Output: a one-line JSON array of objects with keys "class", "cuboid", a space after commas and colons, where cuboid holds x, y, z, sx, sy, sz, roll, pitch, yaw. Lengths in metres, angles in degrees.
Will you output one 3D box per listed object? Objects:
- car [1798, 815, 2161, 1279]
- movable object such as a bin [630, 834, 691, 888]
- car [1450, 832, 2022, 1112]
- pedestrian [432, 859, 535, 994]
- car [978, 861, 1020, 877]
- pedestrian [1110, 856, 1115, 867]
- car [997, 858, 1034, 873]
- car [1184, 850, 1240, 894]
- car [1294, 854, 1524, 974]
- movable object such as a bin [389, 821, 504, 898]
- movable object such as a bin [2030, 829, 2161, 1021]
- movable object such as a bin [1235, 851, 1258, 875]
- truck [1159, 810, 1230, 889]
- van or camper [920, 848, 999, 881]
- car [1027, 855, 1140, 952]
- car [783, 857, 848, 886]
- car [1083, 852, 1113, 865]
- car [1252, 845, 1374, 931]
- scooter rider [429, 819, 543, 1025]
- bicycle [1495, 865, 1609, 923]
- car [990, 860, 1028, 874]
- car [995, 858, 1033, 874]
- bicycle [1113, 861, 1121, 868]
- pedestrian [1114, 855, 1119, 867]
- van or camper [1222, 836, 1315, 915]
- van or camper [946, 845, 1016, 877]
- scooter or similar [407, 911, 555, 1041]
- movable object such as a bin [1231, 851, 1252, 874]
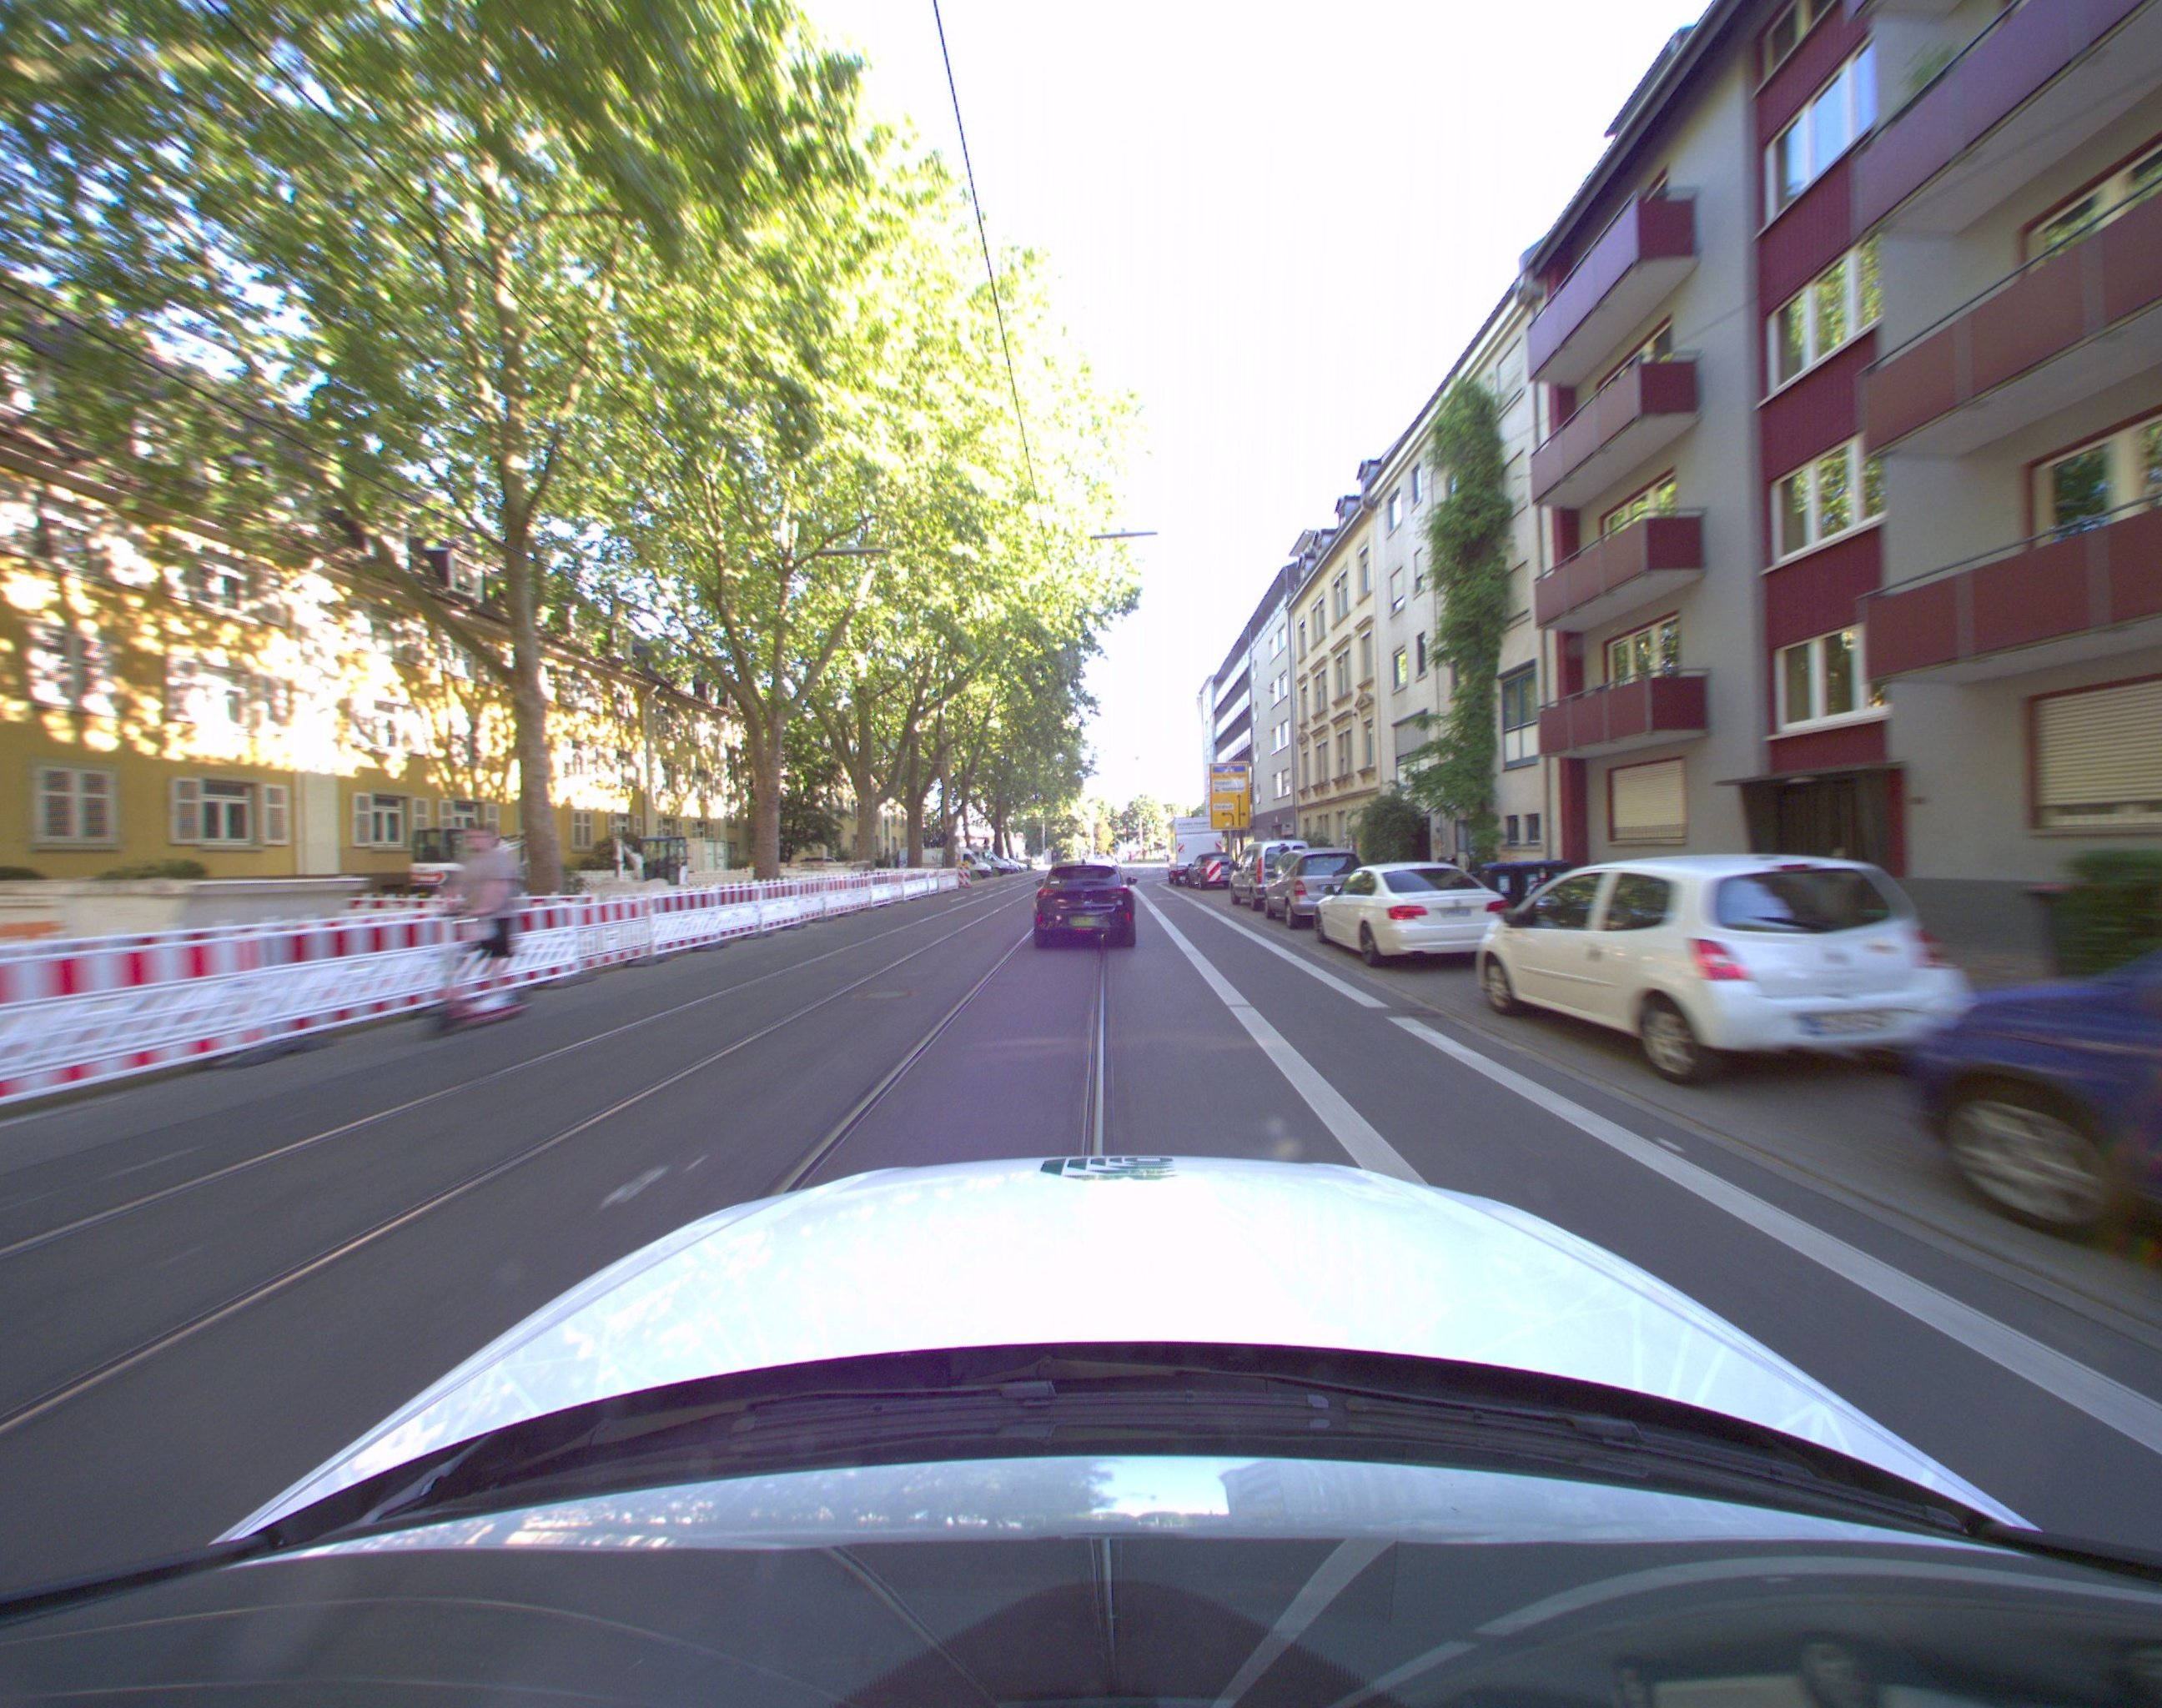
[{"class": "car", "cuboid": [4.459, 0.657, 2.338, 1.521, 1.590, 3.752, 0, -1, 0]}, {"class": "movable object such as a bin", "cuboid": [-13.286, 0.221, 25.797, 1.093, 1.645, 1.560, 0, -1, 2]}, {"class": "car", "cuboid": [4.629, 0.694, 6.603, 1.585, 1.526, 3.837, -3, -1, 2]}, {"class": "pedestrian", "cuboid": [-7.648, 0.902, 10.462, 0.714, 1.669, 0.779, 0, -1, 2]}, {"class": "car", "cuboid": [-8.124, 1.497, 80.764, 3.971, 1.515, 1.651, 0, -1, 2]}, {"class": "pedestrian", "cuboid": [5.191, 1.215, 135.053, 0.610, 1.854, 0.587, -1, -1, 30]}, {"class": "car", "cuboid": [-7.612, 1.326, 95.328, 4.157, 1.671, 1.963, -1, 0, -2]}, {"class": "car", "cuboid": [5.332, 0.707, 33.548, 1.724, 1.557, 4.154, -4, 0, 2]}, {"class": "car", "cuboid": [4.694, 0.747, 12.479, 1.653, 1.399, 4.741, -3, 0, 1]}, {"class": "movable object such as a bin", "cuboid": [-16.207, 0.143, 20.902, 1.328, 1.869, 2.008, 0, -1, 2]}, {"class": "movable object such as a bin", "cuboid": [7.921, 0.491, 5.567, 0.920, 1.327, 1.682, 0, -1, 2]}, {"class": "movable object such as a bin", "cuboid": [11.021, 0.586, 54.289, 1.182, 1.484, 1.596, -3, -1, 2]}, {"class": "truck", "cuboid": [5.364, -0.189, 39.643, 2.528, 3.338, 7.199, -4, 0, 2]}, {"class": "van or camper", "cuboid": [-9.064, 0.771, 60.942, 5.475, 2.379, 2.272, 0, -1, 5]}, {"class": "car", "cuboid": [0.087, 0.783, 14.824, 1.775, 1.496, 4.001, -1, 0, 1]}, {"class": "car", "cuboid": [-15.058, 0.937, 46.500, 1.780, 1.571, 4.528, 0, 0, 7]}, {"class": "car", "cuboid": [2.345, 0.631, 114.479, 2.007, 1.695, 4.691, -3, 0, -32]}, {"class": "car", "cuboid": [4.822, 0.655, 17.413, 1.653, 1.580, 3.591, -2, 0, 2]}, {"class": "scooter rider", "cuboid": [-5.872, 0.645, 8.066, 0.647, 1.957, 0.624, 0, -1, 2]}, {"class": "bicycle", "cuboid": [9.323, 0.792, 16.154, 1.884, 1.029, 0.477, -3, -1, 6]}, {"class": "car", "cuboid": [-7.875, 1.412, 89.824, 3.971, 1.515, 1.651, 0, -1, 2]}, {"class": "car", "cuboid": [-7.578, 1.355, 92.916, 4.157, 1.671, 1.963, -1, 0, -2]}, {"class": "bicycle", "cuboid": [5.752, 1.673, 130.036, 0.782, 0.992, 2.254, 0, -1, 18]}, {"class": "pedestrian", "cuboid": [5.913, 1.170, 135.538, 0.651, 1.932, 0.613, -1, -1, 33]}, {"class": "van or camper", "cuboid": [5.006, 0.531, 22.292, 1.662, 1.883, 4.213, -2, 0, 2]}, {"class": "van or camper", "cuboid": [-8.549, 0.615, 70.257, 5.702, 2.644, 2.270, 0, -1, 2]}, {"class": "scooter or similar", "cuboid": [-5.843, 1.146, 8.014, 0.406, 1.083, 1.339, 0, -1, 2]}, {"class": "movable object such as a bin", "cuboid": [11.028, 0.601, 56.048, 1.106, 1.484, 1.388, -3, -1, 2]}]
